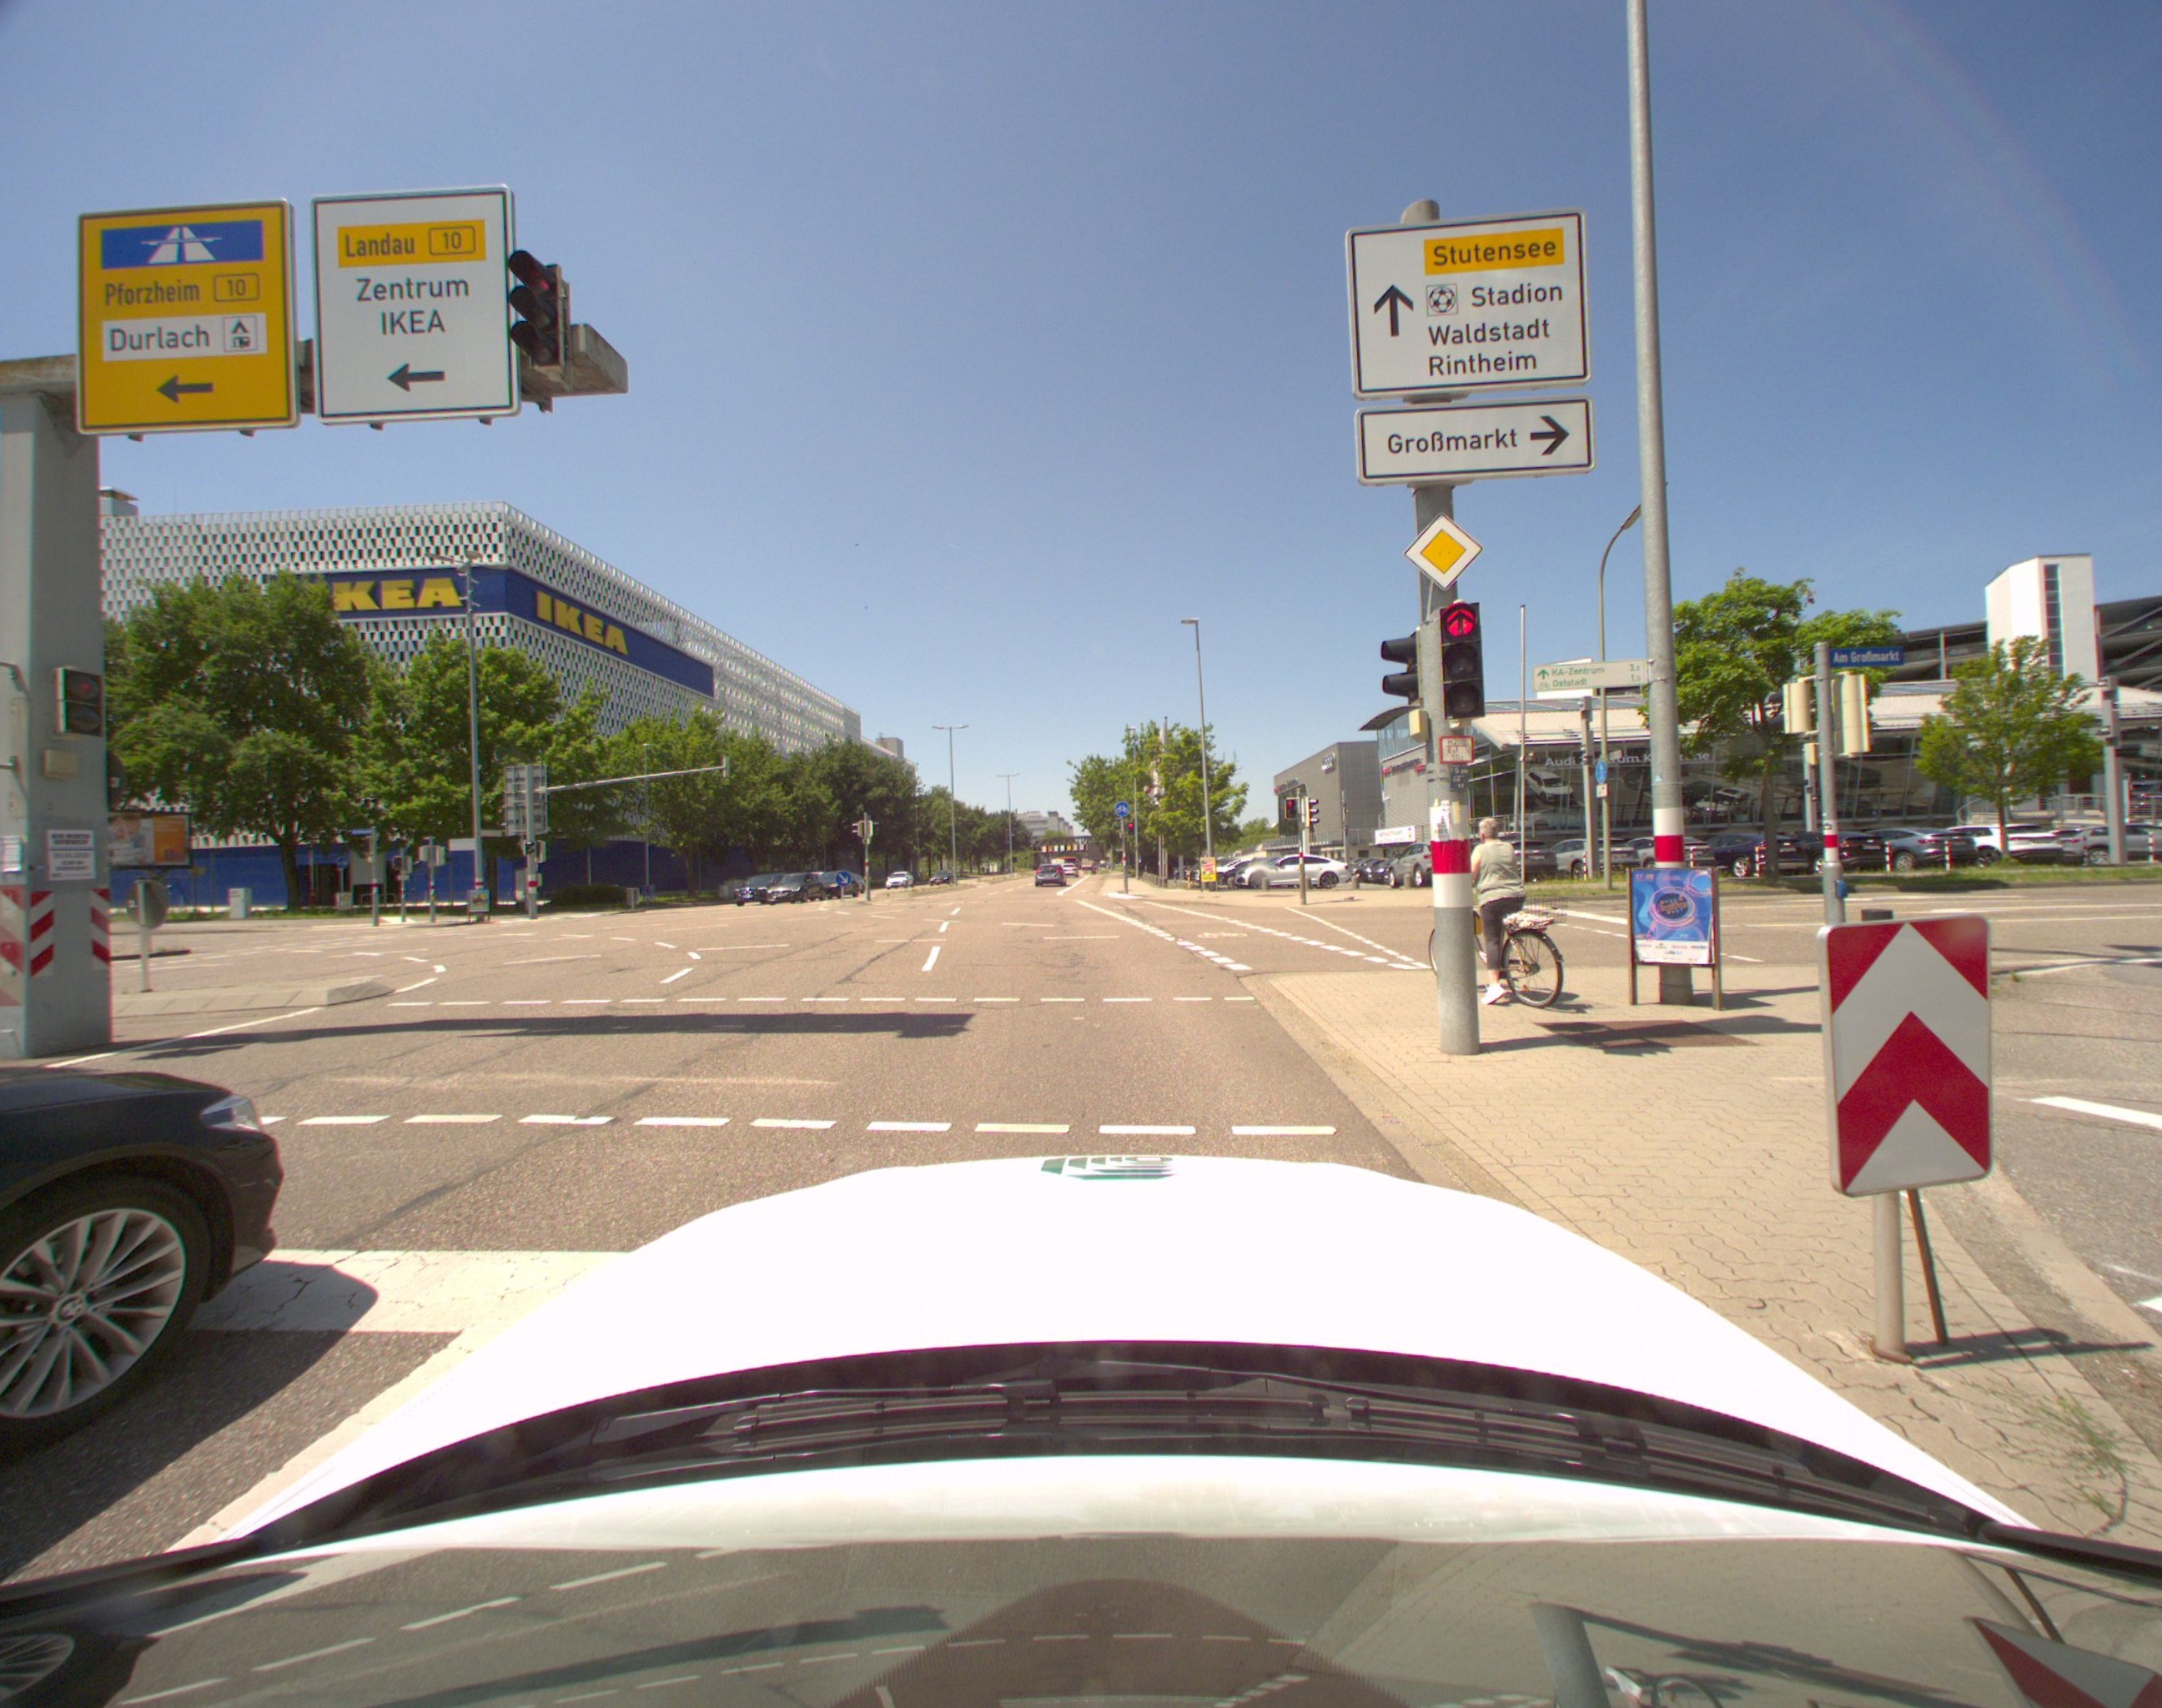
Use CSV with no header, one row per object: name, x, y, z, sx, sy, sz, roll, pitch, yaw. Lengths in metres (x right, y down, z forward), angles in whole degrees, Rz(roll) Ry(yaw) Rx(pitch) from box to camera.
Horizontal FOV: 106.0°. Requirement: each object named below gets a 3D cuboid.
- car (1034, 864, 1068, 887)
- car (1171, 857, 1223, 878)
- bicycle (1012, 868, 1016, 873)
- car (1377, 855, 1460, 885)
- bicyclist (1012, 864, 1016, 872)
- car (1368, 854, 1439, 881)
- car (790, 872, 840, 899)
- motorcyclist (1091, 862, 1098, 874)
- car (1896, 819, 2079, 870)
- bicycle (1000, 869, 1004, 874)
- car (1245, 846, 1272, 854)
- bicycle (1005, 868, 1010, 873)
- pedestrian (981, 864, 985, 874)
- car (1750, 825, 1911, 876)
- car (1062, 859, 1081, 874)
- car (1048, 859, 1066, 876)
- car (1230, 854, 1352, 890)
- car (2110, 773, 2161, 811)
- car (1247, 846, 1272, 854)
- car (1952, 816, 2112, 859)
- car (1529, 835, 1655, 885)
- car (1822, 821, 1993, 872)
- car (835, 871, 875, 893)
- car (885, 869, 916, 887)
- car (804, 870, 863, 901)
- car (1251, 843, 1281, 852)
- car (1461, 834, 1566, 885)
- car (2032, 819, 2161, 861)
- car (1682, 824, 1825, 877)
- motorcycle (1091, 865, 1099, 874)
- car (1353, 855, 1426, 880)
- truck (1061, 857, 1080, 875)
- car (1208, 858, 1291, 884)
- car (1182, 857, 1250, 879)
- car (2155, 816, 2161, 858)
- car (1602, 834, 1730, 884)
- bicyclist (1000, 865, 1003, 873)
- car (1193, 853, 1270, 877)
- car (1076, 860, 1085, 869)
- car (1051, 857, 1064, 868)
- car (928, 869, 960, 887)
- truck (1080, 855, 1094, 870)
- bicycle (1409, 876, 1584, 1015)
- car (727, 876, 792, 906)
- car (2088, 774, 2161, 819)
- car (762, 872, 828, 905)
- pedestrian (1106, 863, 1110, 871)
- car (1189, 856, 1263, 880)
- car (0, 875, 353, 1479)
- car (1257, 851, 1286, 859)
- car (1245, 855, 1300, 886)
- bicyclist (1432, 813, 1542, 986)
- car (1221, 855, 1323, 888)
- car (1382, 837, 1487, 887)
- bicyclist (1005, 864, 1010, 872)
car,-1.932,1.351,53.318,1.894,1.376,4.232,-2,-1,1
car,8.569,0.992,60.221,3.668,1.453,1.834,0,-1,1
bicycle,-15.069,3.645,182.851,0.627,1.159,2.118,-4,-1,1
car,18.930,0.884,45.779,3.970,1.622,1.657,0,-1,1
bicyclist,-15.105,3.129,182.810,0.631,1.629,1.045,-4,-1,1
car,19.319,0.795,48.857,3.634,1.580,1.643,0,-1,1
car,-16.671,1.938,51.179,1.720,1.544,3.916,-3,-1,2
motorcyclist,1.795,1.771,106.145,0.719,1.529,0.868,0,-1,-8
car,31.189,-0.286,28.208,1.840,1.654,3.994,0,-1,-2
bicycle,-16.037,3.519,164.697,0.635,1.134,1.970,-2,-1,0
car,28.084,-0.624,128.898,3.977,1.312,1.795,0,-1,-3
bicycle,-15.274,3.429,169.357,0.736,1.125,2.436,-2,-1,2
pedestrian,-18.996,2.951,158.108,0.741,1.884,0.578,-2,-1,2
car,25.884,-0.089,28.319,1.840,1.654,3.994,0,-1,-2
car,-0.944,1.231,82.239,1.737,1.396,3.530,-1,0,2
car,-2.901,1.591,99.804,1.986,2.014,4.000,-1,-1,1
car,8.478,0.713,33.191,4.572,1.390,1.871,0,-1,3
car,53.496,-3.110,39.438,1.905,1.722,4.142,-2,0,-5
car,27.298,-0.638,124.666,3.515,1.239,1.675,0,-1,-3
car,39.884,-0.649,34.319,3.947,1.571,1.862,-3,-1,31
car,17.863,0.226,28.716,1.840,1.654,3.994,0,-1,-2
car,28.498,-0.213,28.286,1.840,1.654,3.994,0,-1,-2
car,-16.487,2.009,59.507,1.643,1.486,3.916,-3,-1,2
car,-16.075,2.121,72.642,1.737,1.486,4.001,-3,-1,2
car,-13.735,1.722,45.474,1.720,1.505,4.245,-4,-1,2
car,27.226,-0.883,120.046,3.930,1.211,1.715,-1,-1,-3
car,15.067,0.222,28.630,1.836,1.654,4.003,0,-1,5
car,39.586,-0.555,30.620,4.531,1.471,1.925,-3,-1,26
car,23.087,-0.088,28.163,1.624,1.654,3.907,-1,-1,-2
motorcycle,1.806,1.995,106.076,0.716,1.105,1.825,-1,-1,-8
car,19.281,0.838,51.012,3.967,1.573,1.634,0,-1,1
truck,-1.457,1.647,115.581,2.449,2.410,7.136,0,-1,2
car,8.959,0.908,43.557,4.081,1.364,1.875,0,-1,1
car,8.620,0.900,52.119,4.085,1.405,1.869,0,-1,1
car,39.592,-0.659,26.916,4.558,1.471,1.861,-2,-1,26
car,20.261,0.140,28.403,1.632,1.616,3.815,-1,1,-2
bicyclist,-16.066,2.946,164.666,0.635,1.582,0.884,-2,-1,0
car,8.521,0.637,46.410,4.084,1.349,1.869,0,-1,1
car,-0.124,2.651,208.912,1.984,2.013,4.005,-3,-1,5
car,-4.289,1.549,147.095,1.986,2.014,4.814,0,-1,2
car,-12.714,2.194,75.728,1.718,1.446,4.725,-4,-1,4
truck,1.295,1.647,160.926,2.605,2.850,5.616,0,-1,2
bicycle,3.989,0.816,8.012,0.627,1.133,1.891,-1,0,-5
car,-16.866,1.907,42.939,1.654,1.424,4.039,-3,-1,2
car,45.575,-2.472,33.946,4.552,1.707,1.916,-2,-1,4
car,-13.726,1.640,39.246,1.637,1.389,3.717,-4,-1,2
pedestrian,4.546,2.129,136.100,0.621,1.374,0.564,-2,-1,0
car,8.728,0.856,49.229,4.210,1.390,1.869,0,-1,1
car,-3.540,0.802,0.625,1.791,1.440,4.557,-2,0,1
car,27.134,0.096,115.807,3.716,1.130,1.682,0,-1,-3
car,9.239,0.792,39.607,1.855,1.420,4.667,0,-1,4
bicyclist,3.982,0.425,8.040,0.627,1.606,0.824,0,-1,-5
car,8.308,0.749,35.704,4.081,1.390,1.869,0,-1,1
car,12.410,0.333,28.929,1.860,1.558,4.506,-3,-2,3
bicyclist,-15.301,2.840,169.280,0.742,1.686,0.952,-2,-1,2
